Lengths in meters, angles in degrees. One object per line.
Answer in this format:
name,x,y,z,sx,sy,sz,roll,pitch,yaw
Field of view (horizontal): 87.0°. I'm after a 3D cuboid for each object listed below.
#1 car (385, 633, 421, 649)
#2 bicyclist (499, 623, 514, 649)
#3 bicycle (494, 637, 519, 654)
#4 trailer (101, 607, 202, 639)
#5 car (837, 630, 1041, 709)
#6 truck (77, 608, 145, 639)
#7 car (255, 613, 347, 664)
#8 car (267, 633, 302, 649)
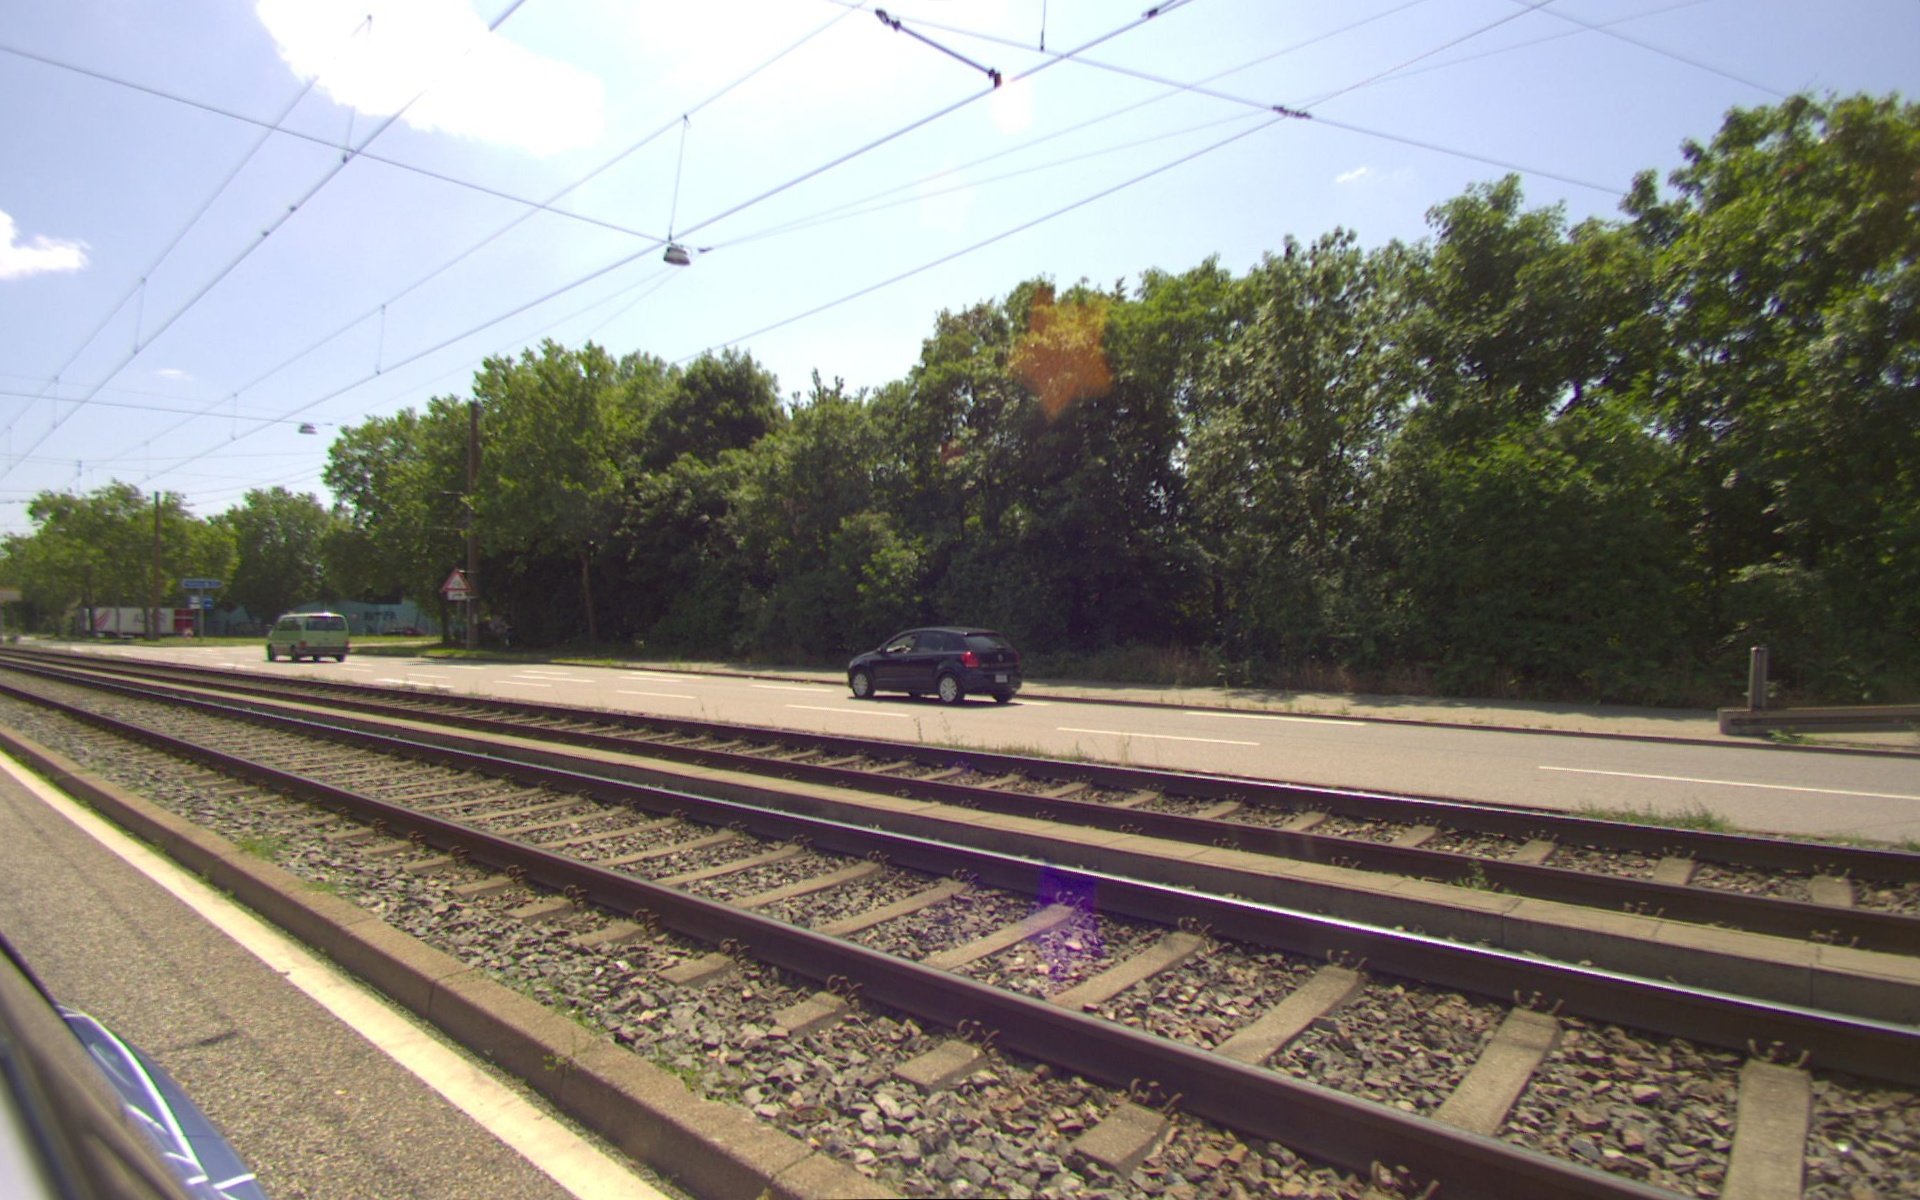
car,-61.381,4.524,111.454,3.368,1.806,1.557,-1,-2,16
bicyclist,-24.309,1.937,54.227,0.562,1.378,0.632,-1,1,-43
bicycle,-24.306,2.422,54.233,0.579,0.825,2.070,-2,1,-43
trailer,-98.582,2.829,123.339,12.001,3.683,3.370,-1,-2,16
car,-0.478,1.263,19.427,3.927,1.357,1.546,-1,-2,42
truck,-105.184,2.949,125.420,6.701,3.730,3.400,-1,-2,17
car,-26.644,1.526,40.861,5.177,1.940,1.792,-1,-2,42
car,-77.679,4.662,116.320,3.368,1.806,1.557,-1,-2,16
